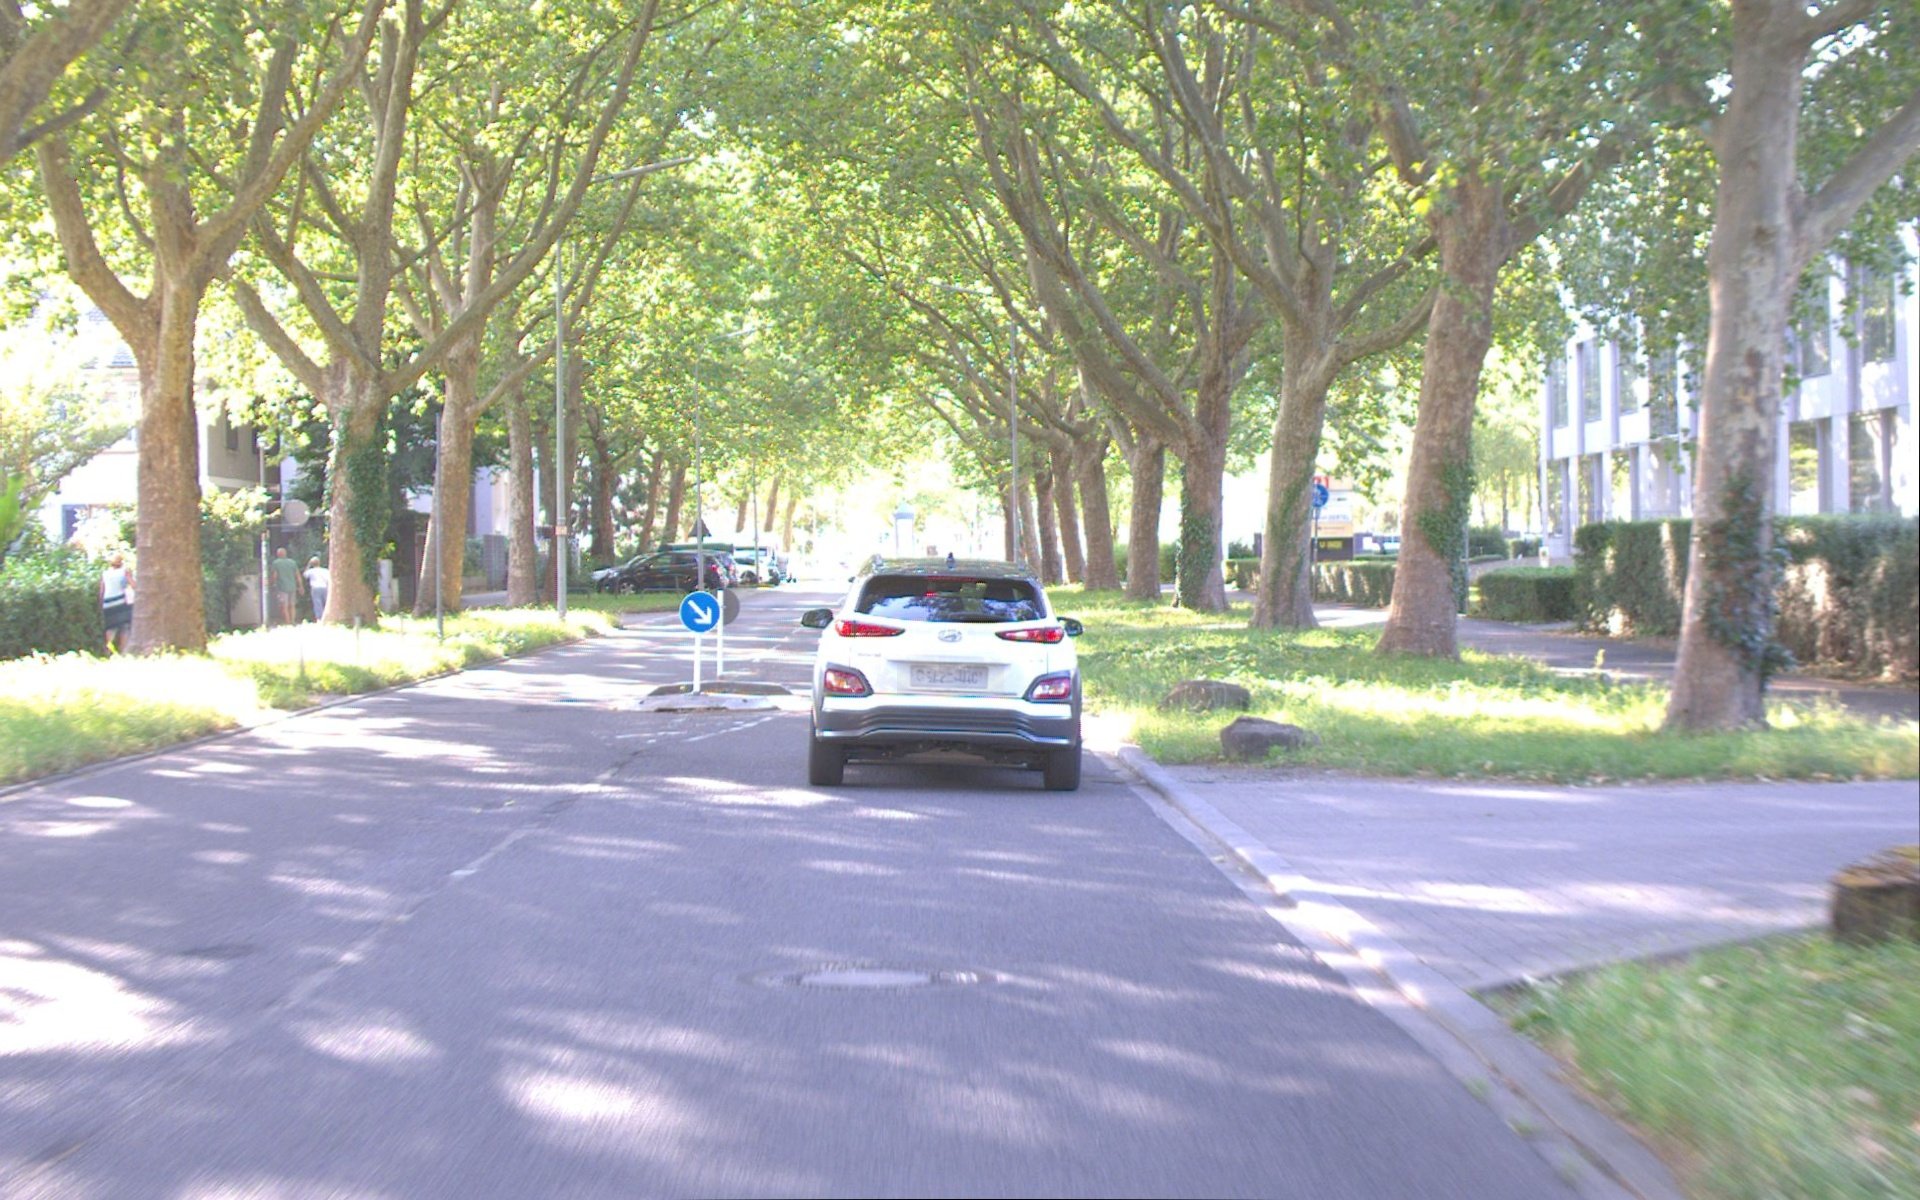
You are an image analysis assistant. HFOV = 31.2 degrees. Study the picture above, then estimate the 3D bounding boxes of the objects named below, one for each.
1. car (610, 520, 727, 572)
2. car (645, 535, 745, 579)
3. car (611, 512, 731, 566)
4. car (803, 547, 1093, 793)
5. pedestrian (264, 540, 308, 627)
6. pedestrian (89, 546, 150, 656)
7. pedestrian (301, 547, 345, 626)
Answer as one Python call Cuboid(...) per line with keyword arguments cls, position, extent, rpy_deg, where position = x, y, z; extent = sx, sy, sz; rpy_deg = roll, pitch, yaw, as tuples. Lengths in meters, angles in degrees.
Cuboid(cls="car", position=(-10.110, -1.859, 119.038), extent=(3.986, 1.766, 2.000), rpy_deg=(0, 0, -5))
Cuboid(cls="car", position=(-10.654, -1.725, 137.970), extent=(3.986, 1.766, 2.000), rpy_deg=(0, 1, -5))
Cuboid(cls="car", position=(-9.763, -2.033, 115.928), extent=(3.986, 1.766, 2.000), rpy_deg=(0, 0, -5))
Cuboid(cls="car", position=(-0.121, 0.435, 24.200), extent=(1.835, 1.550, 4.000), rpy_deg=(1, 0, -1))
Cuboid(cls="pedestrian", position=(-14.576, -0.359, 74.366), extent=(0.749, 1.868, 0.793), rpy_deg=(0, 0, -26))
Cuboid(cls="pedestrian", position=(-13.075, 0.010, 53.503), extent=(0.749, 1.701, 0.793), rpy_deg=(0, 1, -1))
Cuboid(cls="pedestrian", position=(-13.875, -0.288, 74.885), extent=(0.749, 1.702, 0.793), rpy_deg=(0, 0, -25))
